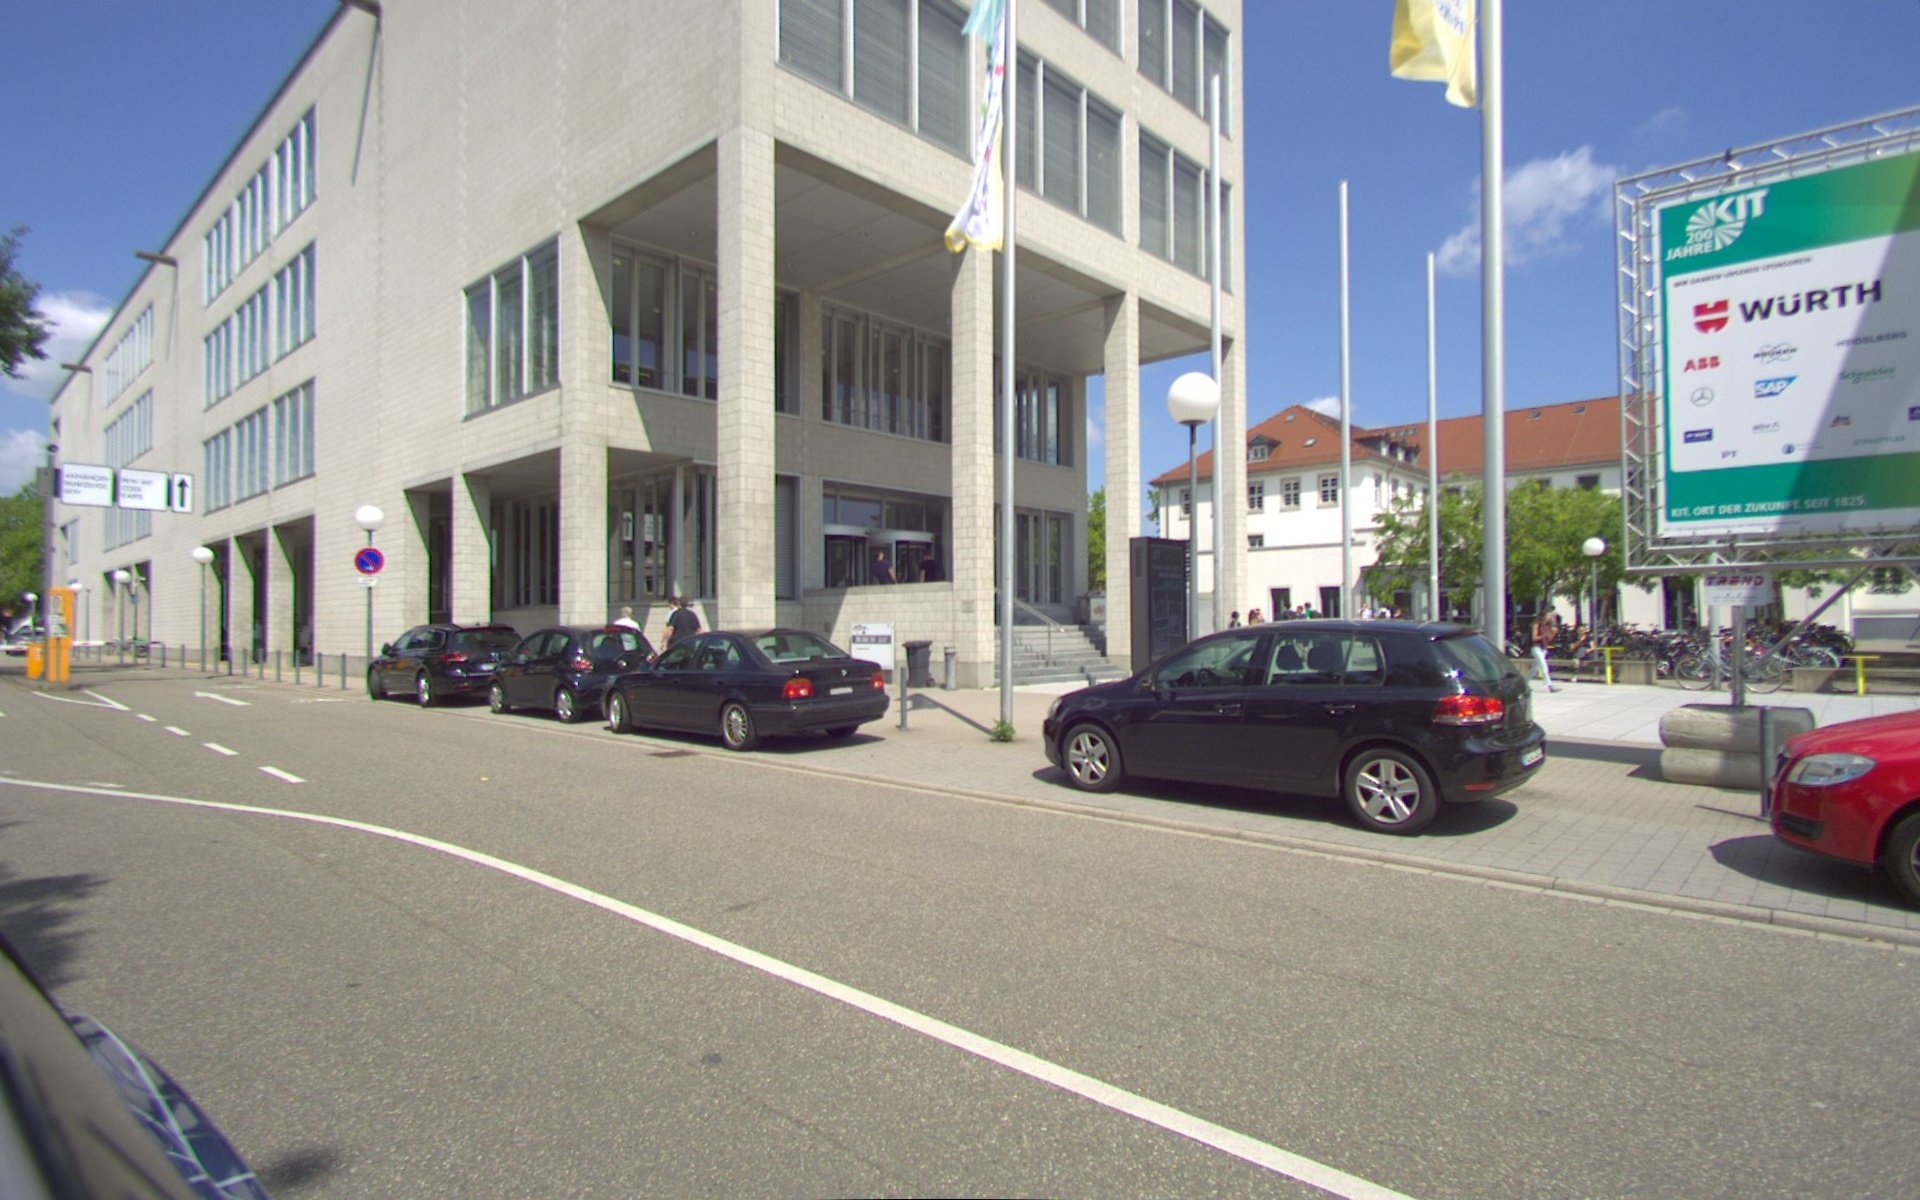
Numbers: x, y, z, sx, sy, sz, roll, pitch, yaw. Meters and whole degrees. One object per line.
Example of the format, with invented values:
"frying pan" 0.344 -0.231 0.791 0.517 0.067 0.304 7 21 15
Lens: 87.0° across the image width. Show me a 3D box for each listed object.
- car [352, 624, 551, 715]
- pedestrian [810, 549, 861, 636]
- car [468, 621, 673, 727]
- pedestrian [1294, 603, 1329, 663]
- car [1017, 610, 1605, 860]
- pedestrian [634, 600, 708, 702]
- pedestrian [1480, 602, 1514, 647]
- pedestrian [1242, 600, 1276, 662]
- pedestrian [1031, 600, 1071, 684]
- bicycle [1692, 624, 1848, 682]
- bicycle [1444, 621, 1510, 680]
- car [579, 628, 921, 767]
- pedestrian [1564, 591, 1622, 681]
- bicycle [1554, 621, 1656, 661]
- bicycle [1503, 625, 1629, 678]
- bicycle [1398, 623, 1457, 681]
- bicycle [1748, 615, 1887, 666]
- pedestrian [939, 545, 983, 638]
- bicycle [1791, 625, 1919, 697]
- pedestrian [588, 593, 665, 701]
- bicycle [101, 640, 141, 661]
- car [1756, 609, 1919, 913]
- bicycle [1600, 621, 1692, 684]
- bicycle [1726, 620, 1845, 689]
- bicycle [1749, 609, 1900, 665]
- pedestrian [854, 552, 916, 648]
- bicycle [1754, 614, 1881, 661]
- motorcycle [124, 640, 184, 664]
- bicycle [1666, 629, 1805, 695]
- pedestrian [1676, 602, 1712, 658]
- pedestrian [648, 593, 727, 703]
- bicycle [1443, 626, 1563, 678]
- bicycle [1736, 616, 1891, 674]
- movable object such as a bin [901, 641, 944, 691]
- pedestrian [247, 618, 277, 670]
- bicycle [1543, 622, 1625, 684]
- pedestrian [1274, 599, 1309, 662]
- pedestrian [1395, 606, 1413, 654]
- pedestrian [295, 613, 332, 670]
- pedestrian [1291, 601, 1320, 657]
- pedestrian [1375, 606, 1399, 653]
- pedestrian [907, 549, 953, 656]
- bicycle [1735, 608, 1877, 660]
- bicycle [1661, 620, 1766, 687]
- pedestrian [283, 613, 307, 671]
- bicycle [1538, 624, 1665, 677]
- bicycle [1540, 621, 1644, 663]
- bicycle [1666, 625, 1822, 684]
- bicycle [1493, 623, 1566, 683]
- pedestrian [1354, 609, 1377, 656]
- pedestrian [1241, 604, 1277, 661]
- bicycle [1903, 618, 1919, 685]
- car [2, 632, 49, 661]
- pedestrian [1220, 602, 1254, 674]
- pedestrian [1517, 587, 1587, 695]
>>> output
"car" -9.840 1.249 19.400 4.718 1.478 1.839 -2 0 43
"pedestrian" -2.991 -0.163 24.274 0.974 2.029 0.740 -1 -1 22
"car" -6.416 1.132 16.491 3.706 1.478 1.621 -2 0 43
"pedestrian" 10.685 1.002 30.732 0.738 1.787 0.749 -2 -2 44
"car" 2.634 0.887 8.309 4.198 1.478 1.728 -2 0 45
"pedestrian" -5.918 1.028 20.718 1.163 2.029 0.974 -2 -2 39
"pedestrian" 24.538 1.124 46.284 1.041 2.029 0.924 0 -2 -30
"pedestrian" 9.807 1.011 33.239 0.749 2.029 0.738 0 -1 -37
"pedestrian" 1.980 0.909 21.960 0.731 1.770 0.756 -1 -2 16
"bicycle" 21.189 1.348 26.582 1.128 1.422 2.961 0 -1 -25
"bicycle" 13.423 1.279 26.368 1.139 1.422 2.931 -1 -1 20
"car" -2.904 1.106 13.096 5.018 1.388 1.838 -2 0 45
"pedestrian" 14.069 0.794 22.491 0.944 1.955 0.975 -2 -2 39
"bicycle" 23.898 1.494 37.562 1.130 1.422 2.956 0 -1 -39
"bicycle" 17.416 1.443 29.182 1.128 1.422 2.961 0 -1 -25
"bicycle" 12.307 1.329 26.758 1.139 1.422 2.931 -1 -1 20
"bicycle" 25.336 1.179 29.989 1.048 1.422 2.958 0 -1 -36
"pedestrian" 0.021 -0.190 24.138 0.802 2.161 0.698 -1 -1 31
"bicycle" 19.669 1.297 22.295 1.139 1.422 2.931 -1 -1 20
"pedestrian" -6.551 0.906 19.885 1.163 2.029 0.974 -2 -2 39
"bicycle" -46.252 2.765 55.818 0.607 1.095 1.623 -2 -1 37
"car" 6.339 0.783 4.769 3.911 1.478 1.658 -2 0 44
"bicycle" 16.645 1.236 24.669 1.139 1.422 2.931 -1 -1 20
"bicycle" 18.555 1.179 22.870 1.139 1.422 2.931 -1 -1 20
"bicycle" 23.497 0.987 27.580 1.048 1.422 2.958 0 -1 -36
"pedestrian" -1.622 0.008 21.985 0.910 2.029 0.967 -2 -2 43
"bicycle" 27.519 1.191 32.527 1.048 1.422 2.956 0 -1 -39
"motorcycle" -39.465 2.547 49.566 0.772 1.146 2.148 -2 -2 32
"bicycle" 15.182 1.183 19.850 2.095 1.225 0.642 -2 -1 43
"pedestrian" 29.313 1.202 40.407 1.041 2.217 1.010 -2 -3 41
"pedestrian" -5.242 0.903 19.439 1.163 2.029 0.974 -2 -2 39
"bicycle" 15.755 1.470 29.489 1.128 1.422 2.961 0 -1 -25
"bicycle" 22.610 1.164 26.884 1.048 1.422 2.958 0 -1 -36
"movable object such as a bin" -0.737 1.283 19.871 0.595 0.937 0.569 -2 -1 43
"pedestrian" -27.393 1.712 39.726 0.846 2.029 0.881 0 -2 -45
"bicycle" 15.655 1.291 25.501 1.139 1.422 2.931 -1 -1 20
"pedestrian" 10.856 0.995 33.136 0.749 2.029 0.738 0 -1 -38
"pedestrian" 20.656 1.403 47.118 0.674 2.217 0.620 -1 -2 18
"pedestrian" -23.434 1.499 36.691 1.065 2.029 0.839 -2 -3 41
"pedestrian" 11.563 0.972 33.885 0.752 1.851 0.698 -1 -1 8
"pedestrian" 20.750 1.440 49.220 0.957 2.217 0.964 -1 -2 20
"pedestrian" -0.695 0.071 23.555 0.748 2.440 0.738 1 -2 -45
"bicycle" 24.461 0.982 29.331 1.048 1.422 2.958 0 -1 -36
"bicycle" 17.574 1.207 23.710 1.139 1.422 2.931 -1 -1 20
"pedestrian" -23.465 1.476 35.705 0.537 2.029 0.835 0 -2 -45
"bicycle" 18.670 1.432 29.561 1.128 1.422 2.961 0 -1 -25
"bicycle" 22.801 1.493 36.557 1.130 1.422 2.956 0 -1 -39
"bicycle" 20.132 1.354 26.104 1.128 1.422 2.961 0 -1 -25
"bicycle" 14.522 1.314 25.912 1.139 1.422 2.931 -1 -1 20
"pedestrian" 17.652 1.394 44.056 0.753 2.029 0.734 -1 -1 10
"pedestrian" 8.834 0.953 29.922 0.720 1.626 0.739 0 -1 -16
"bicycle" 20.693 1.083 20.562 1.139 1.422 2.931 -1 -1 20
"car" -55.028 2.706 59.595 4.406 1.546 1.707 -1 0 43
"pedestrian" 6.894 0.938 25.182 0.754 1.770 0.733 -1 -2 19
"pedestrian" 11.611 0.789 19.839 0.987 2.029 1.045 -2 -2 39
